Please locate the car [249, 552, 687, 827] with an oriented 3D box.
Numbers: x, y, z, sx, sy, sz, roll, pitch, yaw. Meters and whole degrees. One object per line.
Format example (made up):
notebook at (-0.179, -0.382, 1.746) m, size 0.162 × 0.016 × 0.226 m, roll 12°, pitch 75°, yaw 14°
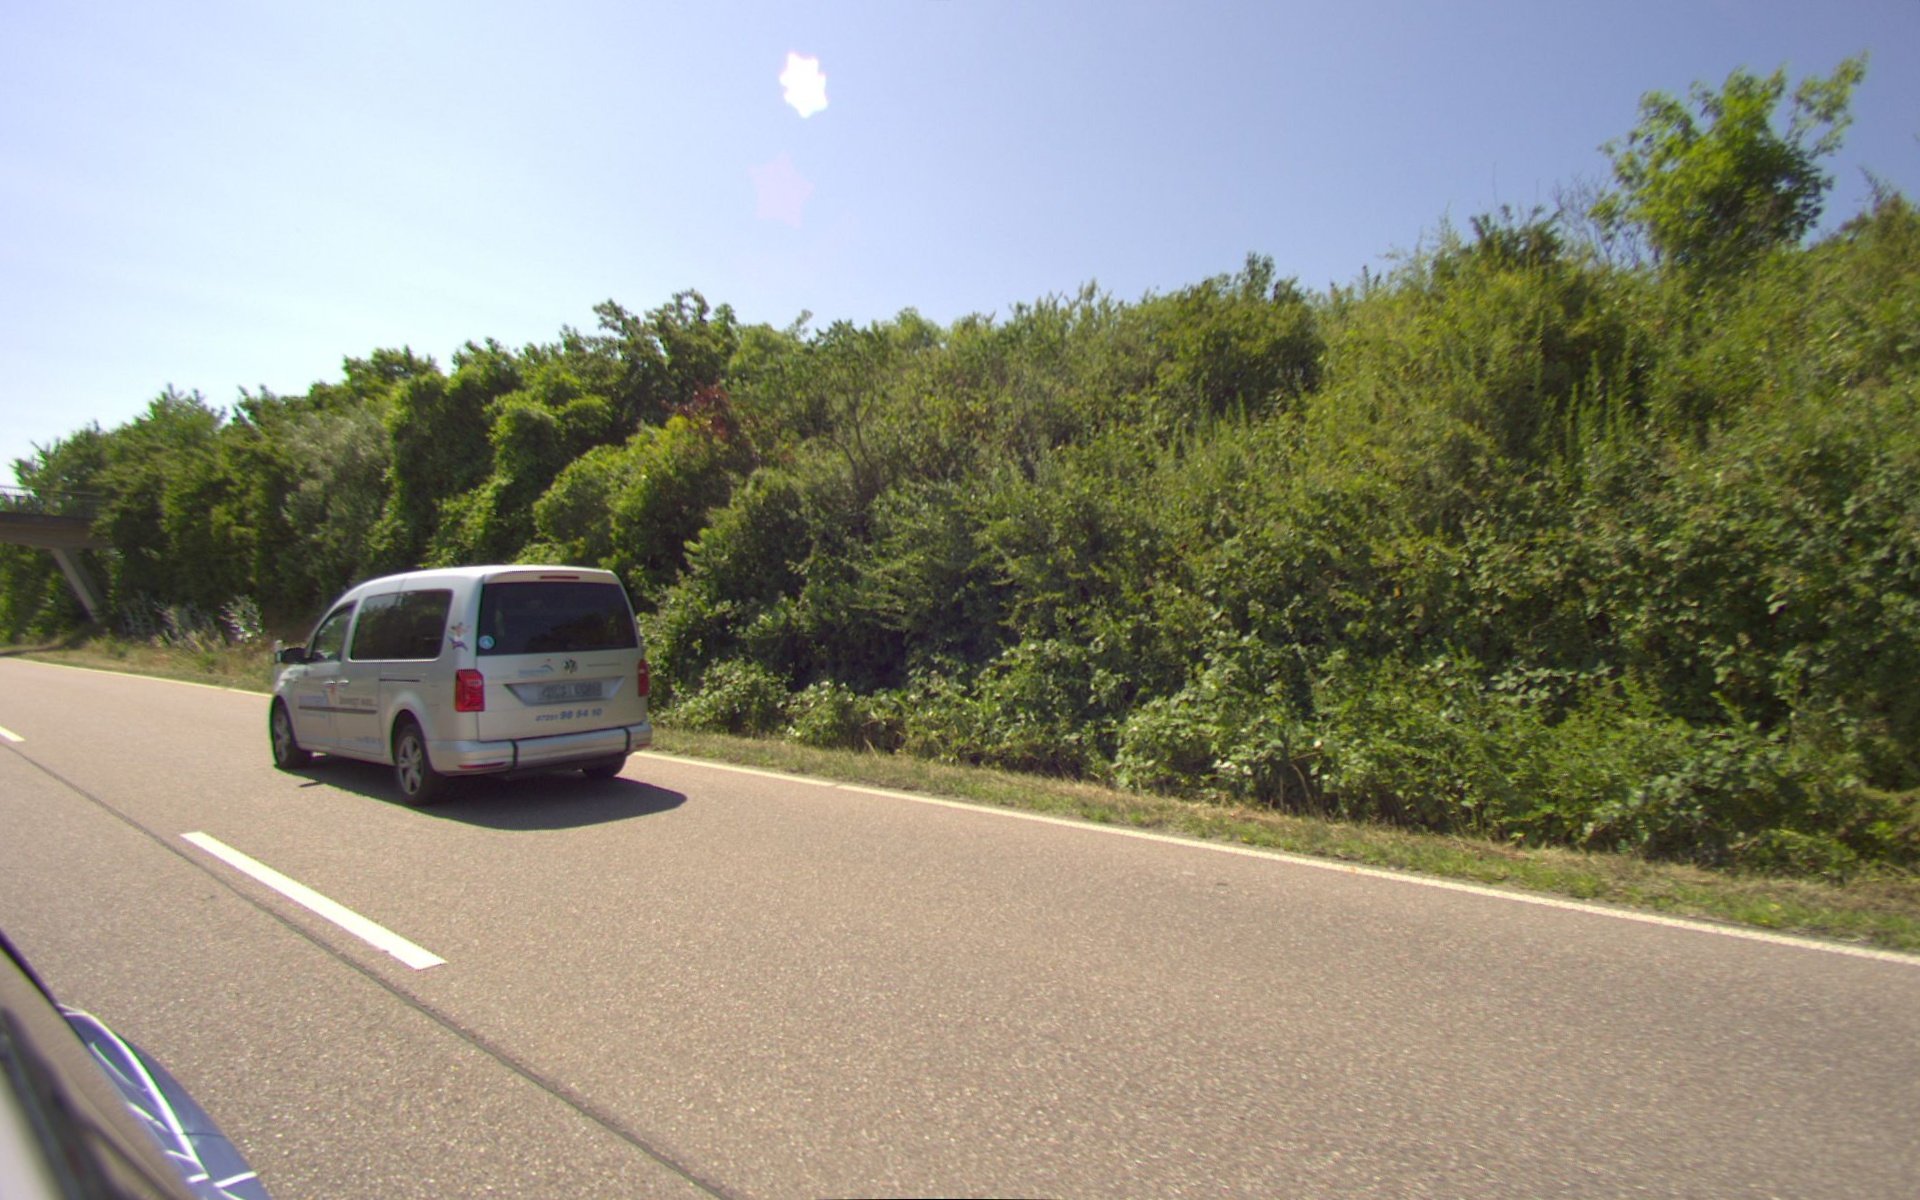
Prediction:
car at (-4.556, 0.638, 8.974) m, size 4.801 × 1.833 × 1.744 m, roll -1°, pitch -1°, yaw 41°
